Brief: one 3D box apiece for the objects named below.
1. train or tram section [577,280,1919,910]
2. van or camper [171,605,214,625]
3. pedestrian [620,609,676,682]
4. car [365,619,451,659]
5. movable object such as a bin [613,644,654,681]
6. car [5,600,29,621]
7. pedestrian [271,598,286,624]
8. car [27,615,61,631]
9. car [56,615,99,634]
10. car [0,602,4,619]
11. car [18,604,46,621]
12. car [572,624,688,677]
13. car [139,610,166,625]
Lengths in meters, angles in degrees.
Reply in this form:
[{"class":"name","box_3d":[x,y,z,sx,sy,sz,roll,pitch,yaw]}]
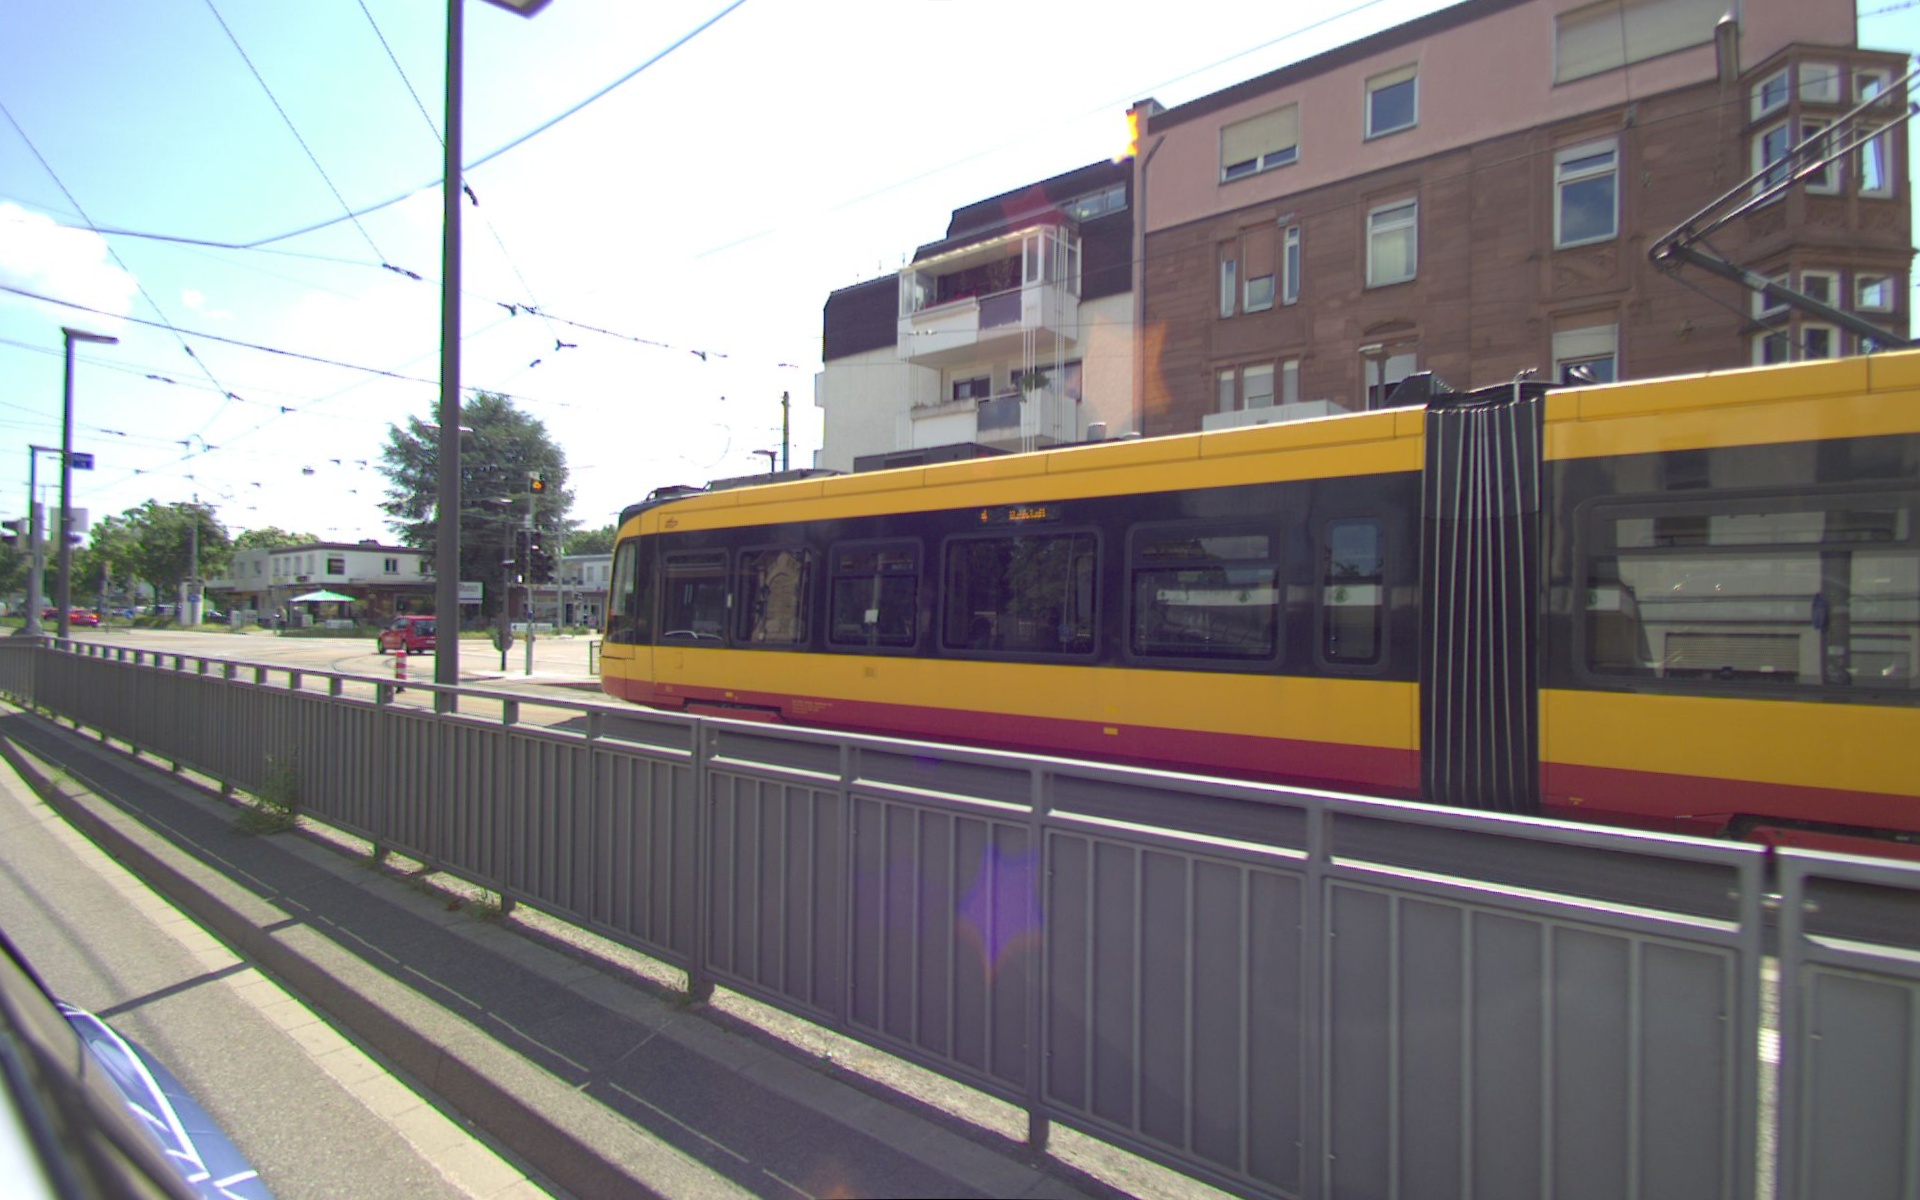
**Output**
[{"class":"train or tram section","box_3d":[2.960,0.008,10.070,20.488,3.594,3.217,0,-2,41]},{"class":"van or camper","box_3d":[-126.207,2.416,166.453,2.245,3.141,5.092,-1,-2,40]},{"class":"pedestrian","box_3d":[-6.866,0.985,22.248,0.919,1.572,0.777,-1,-2,40]},{"class":"car","box_3d":[-21.219,1.458,38.848,3.851,1.456,1.637,-1,-2,41]},{"class":"movable object such as a bin","box_3d":[-7.243,1.382,22.482,0.537,0.786,0.668,-1,-2,39]},{"class":"car","box_3d":[-121.016,1.333,129.846,3.996,2.608,1.722,-1,-2,40]},{"class":"pedestrian","box_3d":[-47.750,0.801,70.901,0.679,1.788,0.485,0,3,21]},{"class":"car","box_3d":[-83.798,2.095,92.594,3.997,1.364,1.761,0,-2,40]},{"class":"car","box_3d":[-70.688,1.942,81.055,4.819,1.461,1.972,-1,-2,42]},{"class":"car","box_3d":[-110.250,1.124,114.761,4.548,1.890,1.841,0,-2,37]},{"class":"car","box_3d":[-109.996,1.519,119.953,3.996,1.980,1.942,-1,-2,40]},{"class":"car","box_3d":[-9.995,1.502,30.565,3.788,1.467,1.633,-1,-4,43]},{"class":"car","box_3d":[-96.498,2.114,120.943,3.996,1.706,1.722,0,-2,40]}]
